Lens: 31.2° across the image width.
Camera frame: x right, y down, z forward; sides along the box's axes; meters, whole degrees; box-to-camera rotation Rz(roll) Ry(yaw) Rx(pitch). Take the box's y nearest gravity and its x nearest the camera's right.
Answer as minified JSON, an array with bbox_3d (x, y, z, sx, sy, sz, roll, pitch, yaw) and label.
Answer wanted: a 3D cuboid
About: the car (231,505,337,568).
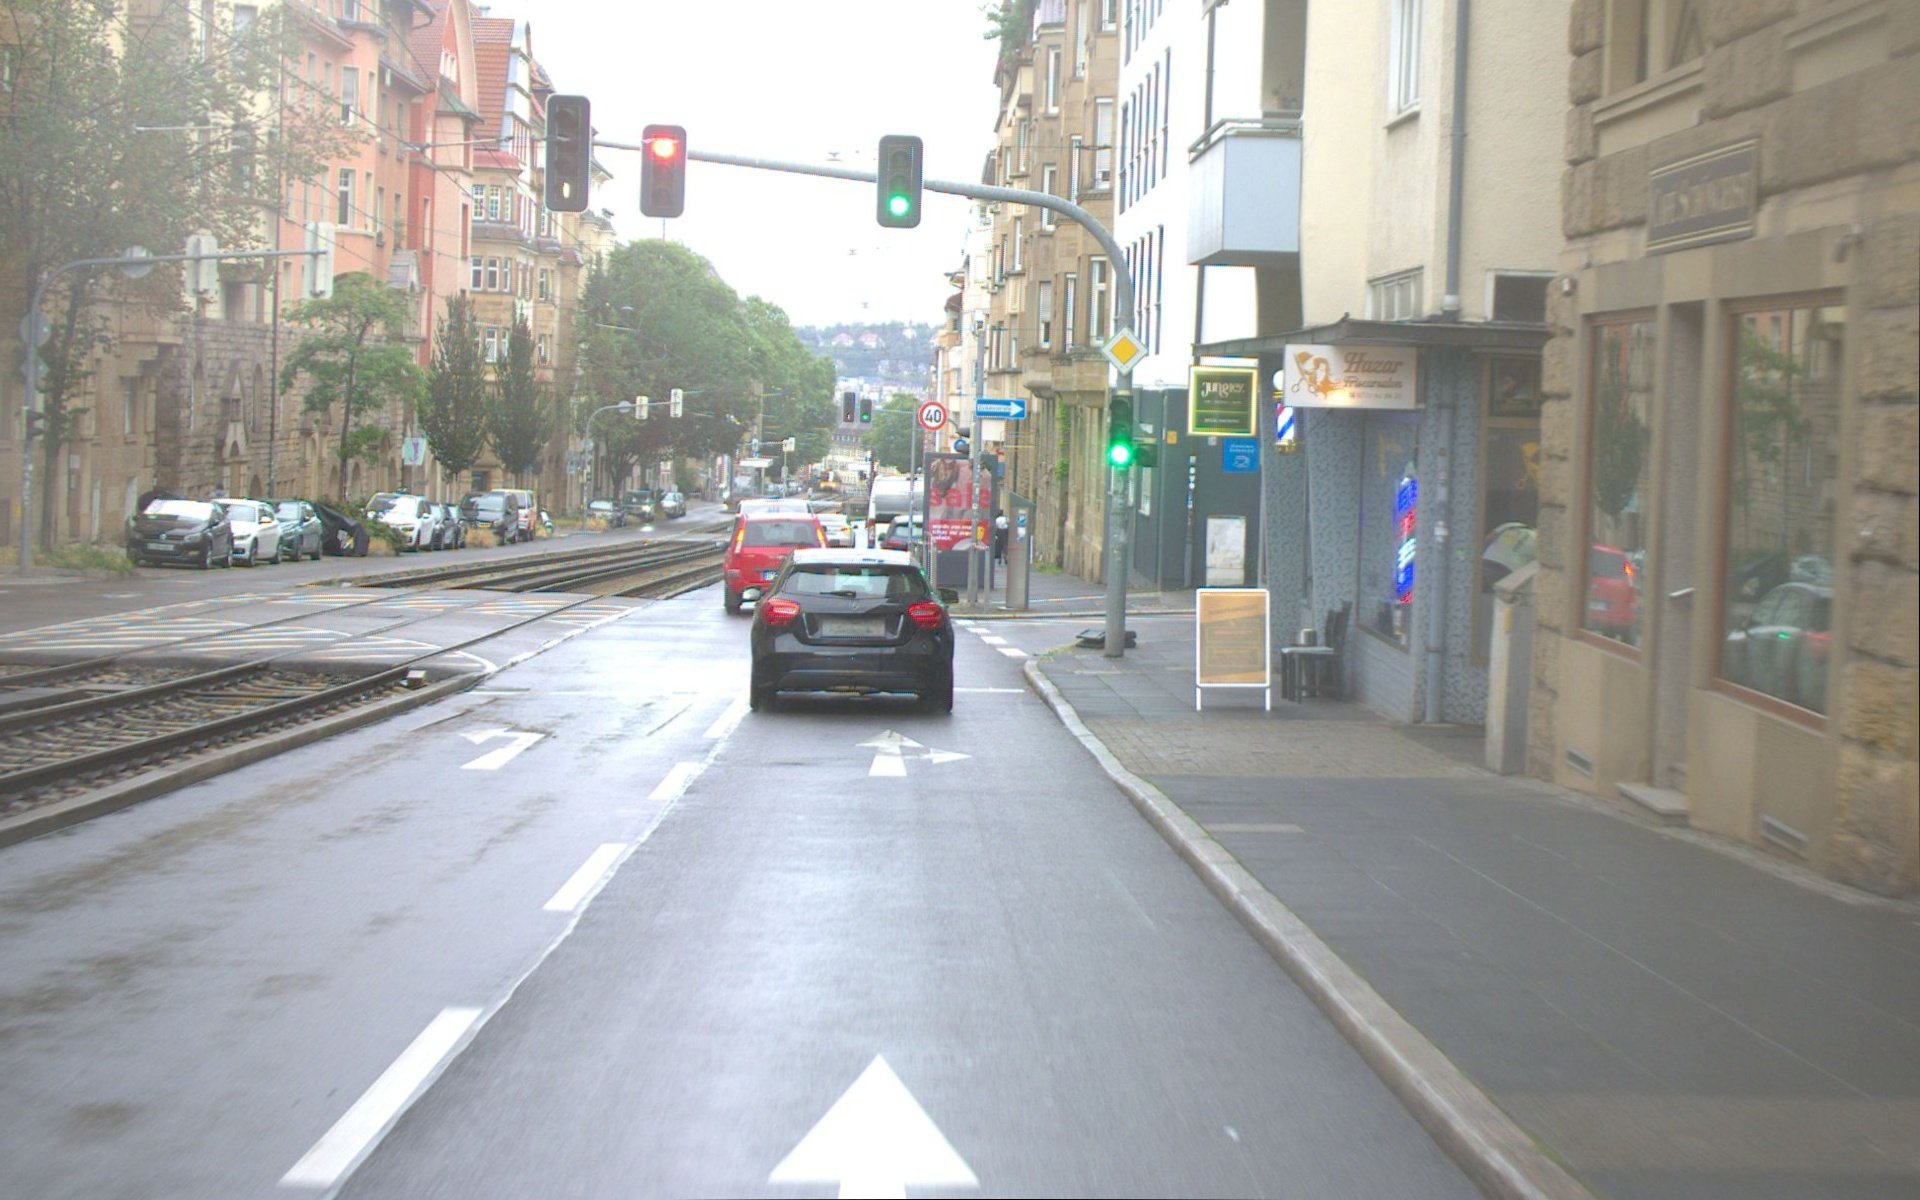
[{"bbox_3d":[-16.112,-1.517,82.106,1.561,1.433,4.146,2,1,1],"label":"car"}]

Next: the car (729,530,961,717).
[{"bbox_3d":[-1.040,0.160,31.026,1.946,1.559,3.643,1,1,-2],"label":"car"}]

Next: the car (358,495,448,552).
[{"bbox_3d":[-16.375,-2.235,101.279,1.785,1.584,4.351,2,1,2],"label":"car"}]

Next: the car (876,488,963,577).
[{"bbox_3d":[-0.893,-1.491,74.473,1.768,1.801,4.483,2,2,-1],"label":"car"}]

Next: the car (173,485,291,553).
[{"bbox_3d":[-16.145,-1.798,76.411,1.667,1.421,4.263,2,2,1],"label":"car"}]

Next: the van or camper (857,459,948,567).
[{"bbox_3d":[-1.381,-2.085,82.871,2.064,2.460,6.119,1,1,-1],"label":"van or camper"}]

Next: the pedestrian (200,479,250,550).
[{"bbox_3d":[-18.834,-2.196,88.089,1.007,1.747,0.924,3,2,0],"label":"pedestrian"}]

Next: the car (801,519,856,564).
[{"bbox_3d":[-4.802,-2.127,126.075,1.902,1.588,4.000,1,1,-1],"label":"car"}]

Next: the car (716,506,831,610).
[{"bbox_3d":[-2.855,-0.680,53.233,1.536,1.505,4.000,2,2,-1],"label":"car"}]

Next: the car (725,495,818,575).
[{"bbox_3d":[-4.123,-1.415,74.955,1.921,1.649,4.001,2,1,-3],"label":"car"}]

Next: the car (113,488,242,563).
[{"bbox_3d":[-16.222,-1.541,71.446,1.765,1.481,4.000,1,1,0],"label":"car"}]
